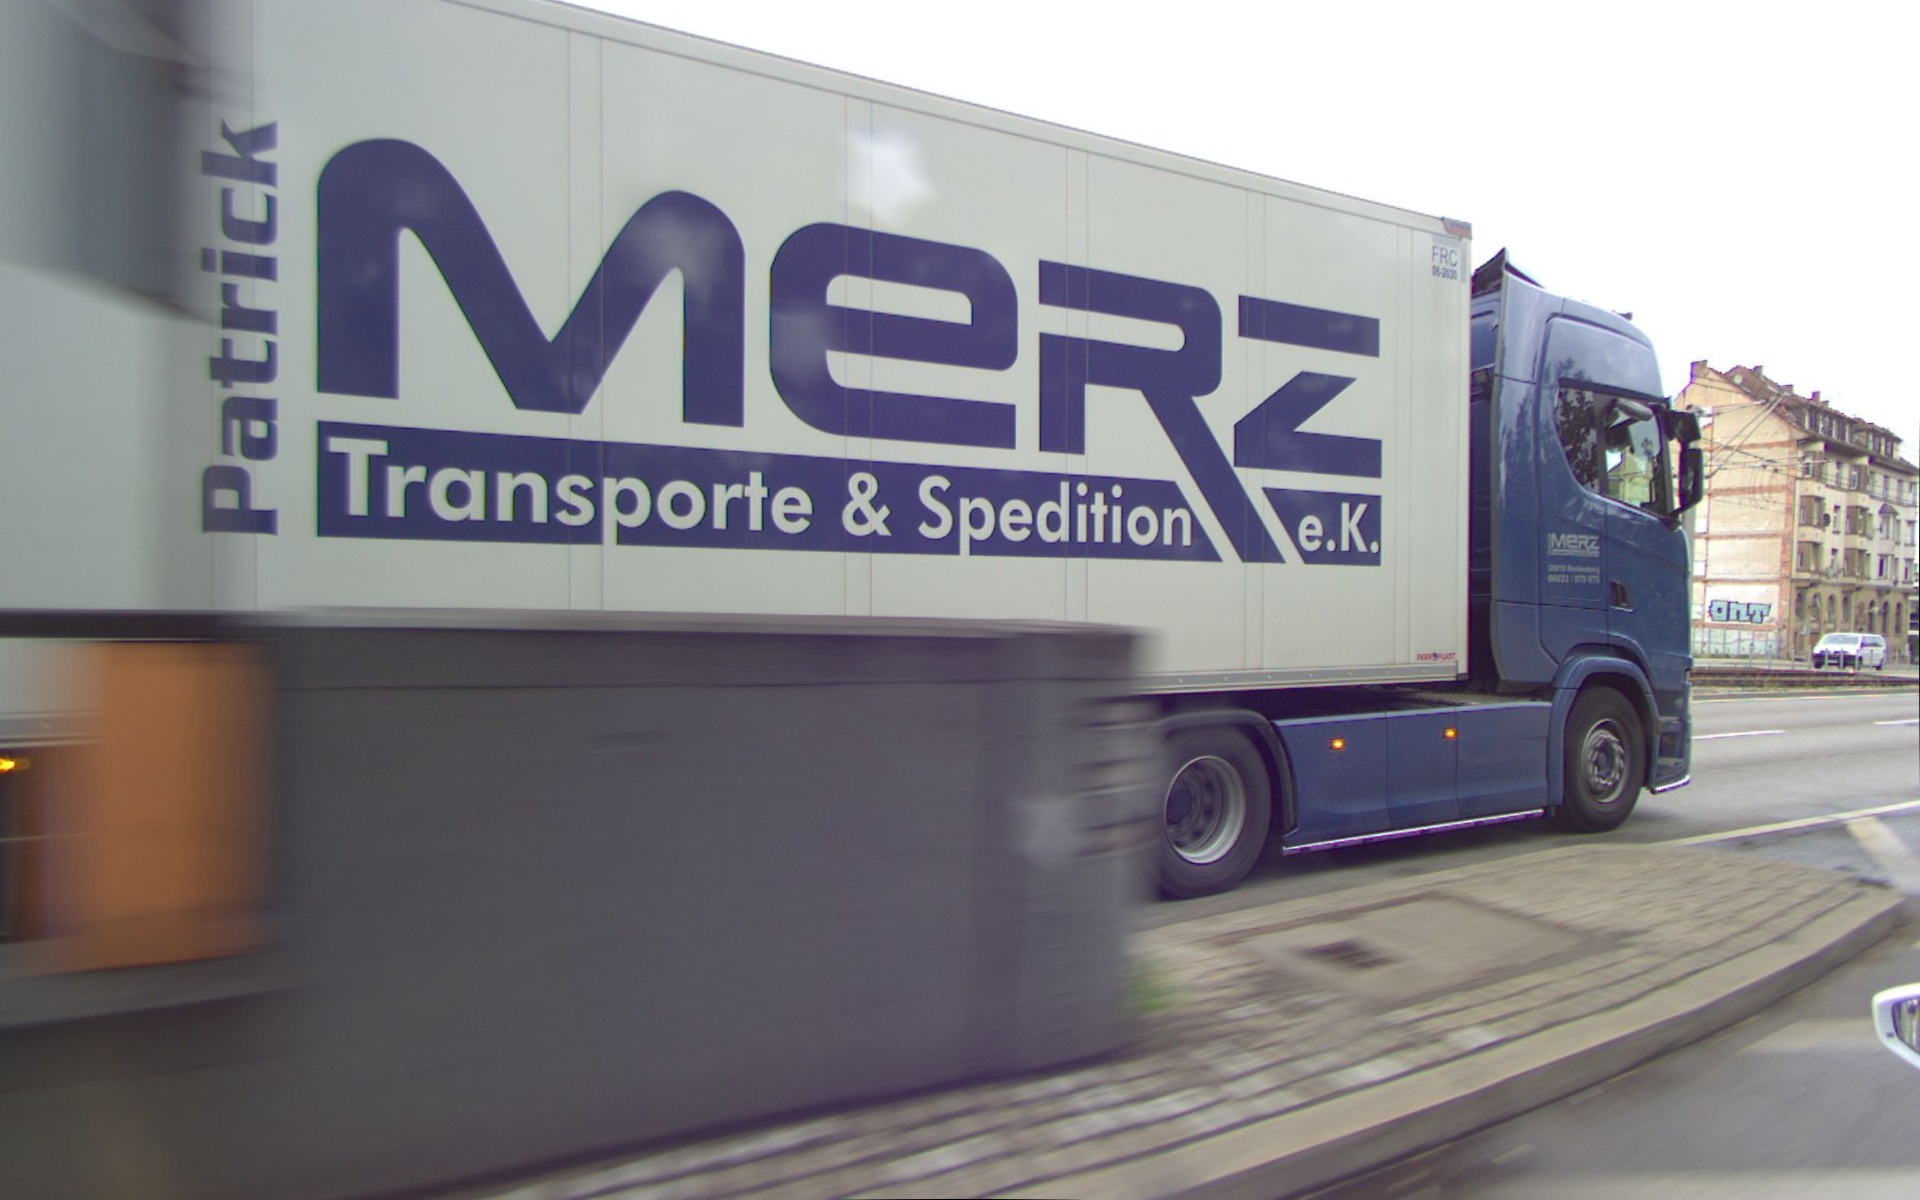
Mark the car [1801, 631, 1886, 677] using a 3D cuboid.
[{"bbox_3d":[47.409,2.908,53.879,5.055,2.146,1.982,4,0,-32],"label":"car"}]

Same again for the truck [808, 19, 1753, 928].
[{"bbox_3d":[2.571,-0.457,7.496,6.700,4.252,2.751,3,-1,-28],"label":"truck"}]

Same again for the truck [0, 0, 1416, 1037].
[{"bbox_3d":[-3.758,-0.772,4.271,12.858,4.252,2.753,3,-1,-26],"label":"truck"}]
